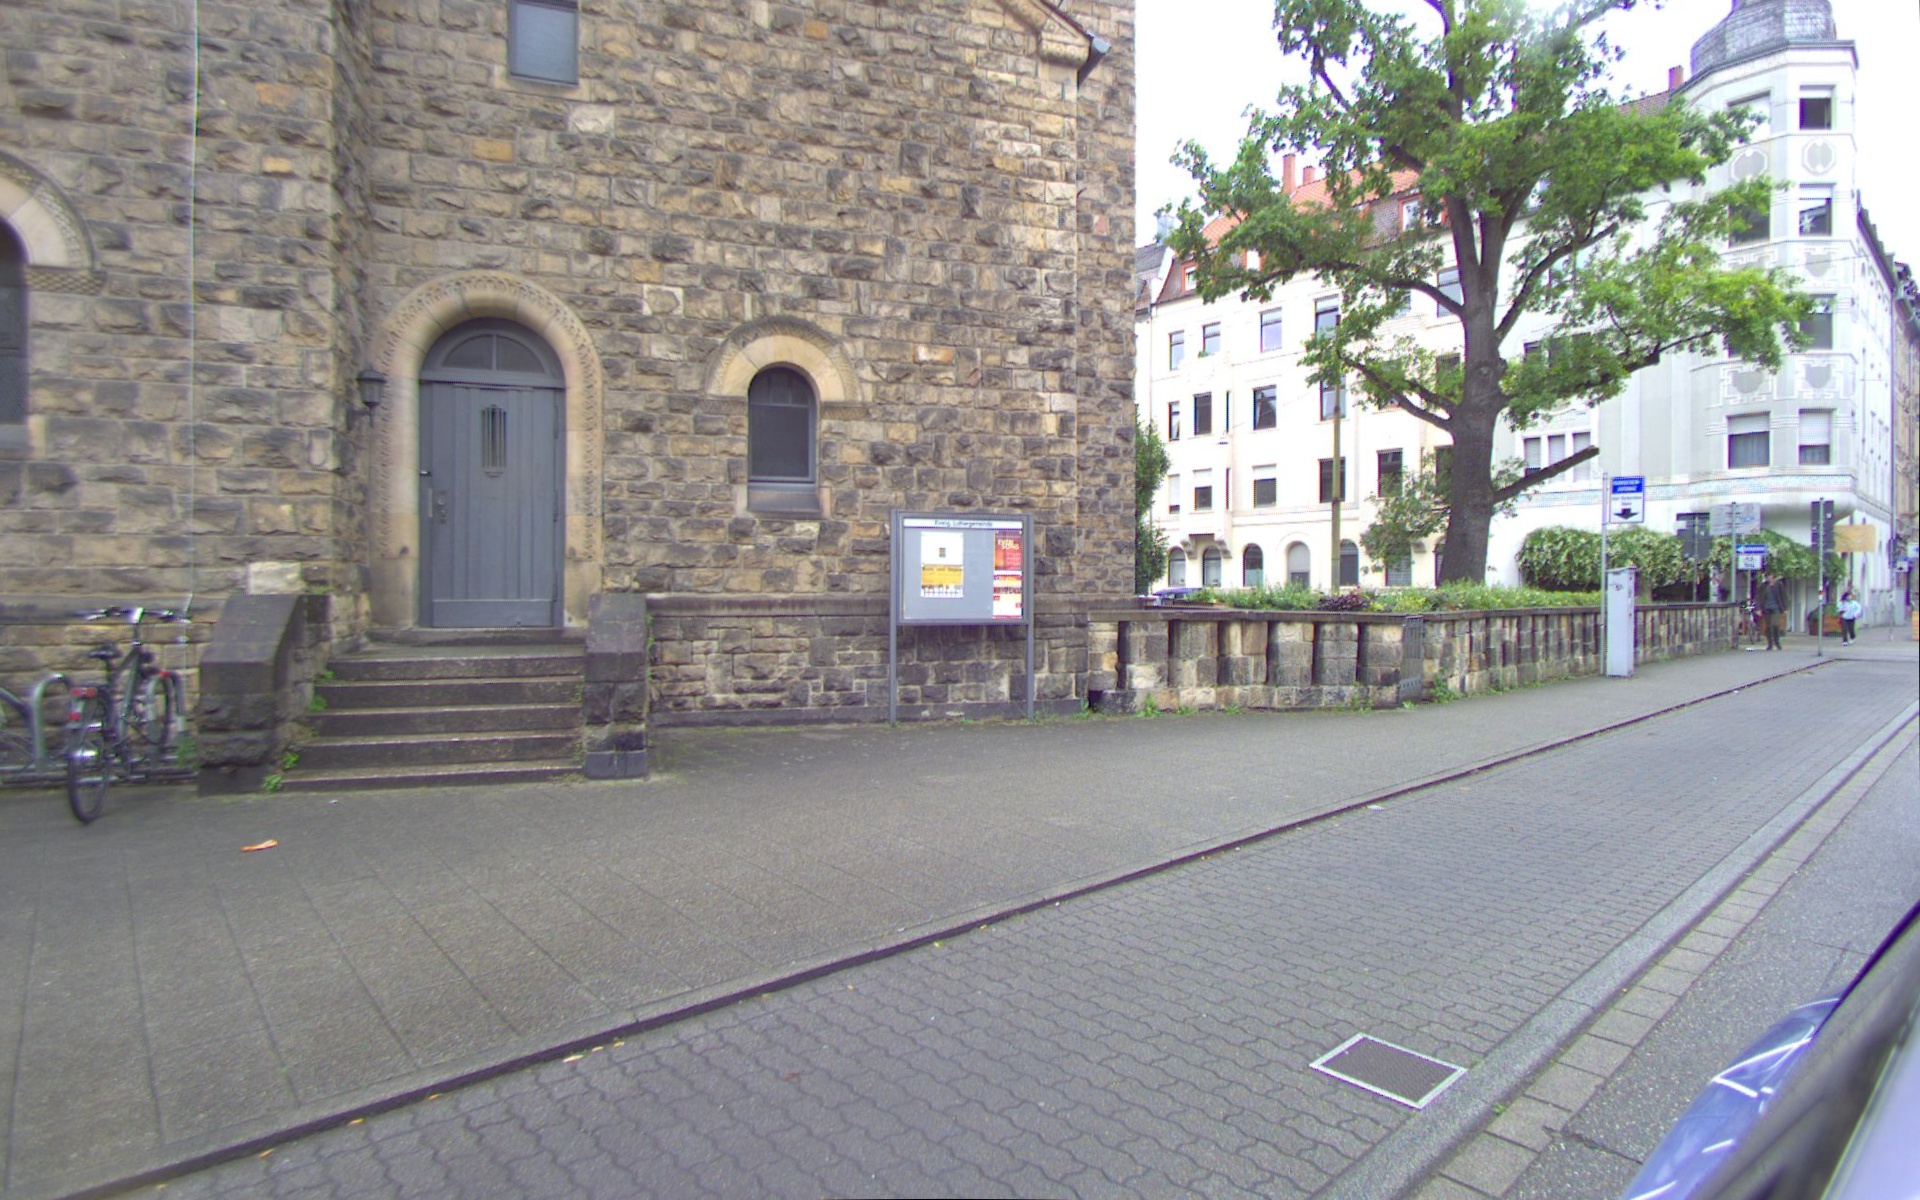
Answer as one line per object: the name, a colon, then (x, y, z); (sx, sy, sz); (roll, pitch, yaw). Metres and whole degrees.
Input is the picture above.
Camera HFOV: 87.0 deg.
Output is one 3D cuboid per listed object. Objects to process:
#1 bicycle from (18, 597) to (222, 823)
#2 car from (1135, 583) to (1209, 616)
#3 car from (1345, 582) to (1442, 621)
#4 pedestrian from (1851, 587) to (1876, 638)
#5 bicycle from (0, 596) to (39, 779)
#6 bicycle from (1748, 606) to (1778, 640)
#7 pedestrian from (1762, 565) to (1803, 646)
bicycle: (-5.004, 0.558, 6.152); (0.502, 1.067, 1.994); (0, 3, -27)
car: (9.940, -0.053, 47.548); (1.421, 1.427, 3.271); (0, 1, -38)
car: (17.088, 0.024, 39.989); (1.421, 1.427, 3.271); (0, 1, -38)
pedestrian: (26.625, 0.365, 29.816); (0.385, 1.479, 0.481); (0, 1, -42)
bicycle: (-6.184, 0.575, 6.041); (0.550, 1.125, 1.717); (0, 3, -27)
bicycle: (24.570, 0.701, 30.965); (1.990, 0.904, 0.390); (-3, 3, -42)
pedestrian: (19.671, 0.111, 24.197); (0.681, 1.896, 0.645); (0, 1, -42)
